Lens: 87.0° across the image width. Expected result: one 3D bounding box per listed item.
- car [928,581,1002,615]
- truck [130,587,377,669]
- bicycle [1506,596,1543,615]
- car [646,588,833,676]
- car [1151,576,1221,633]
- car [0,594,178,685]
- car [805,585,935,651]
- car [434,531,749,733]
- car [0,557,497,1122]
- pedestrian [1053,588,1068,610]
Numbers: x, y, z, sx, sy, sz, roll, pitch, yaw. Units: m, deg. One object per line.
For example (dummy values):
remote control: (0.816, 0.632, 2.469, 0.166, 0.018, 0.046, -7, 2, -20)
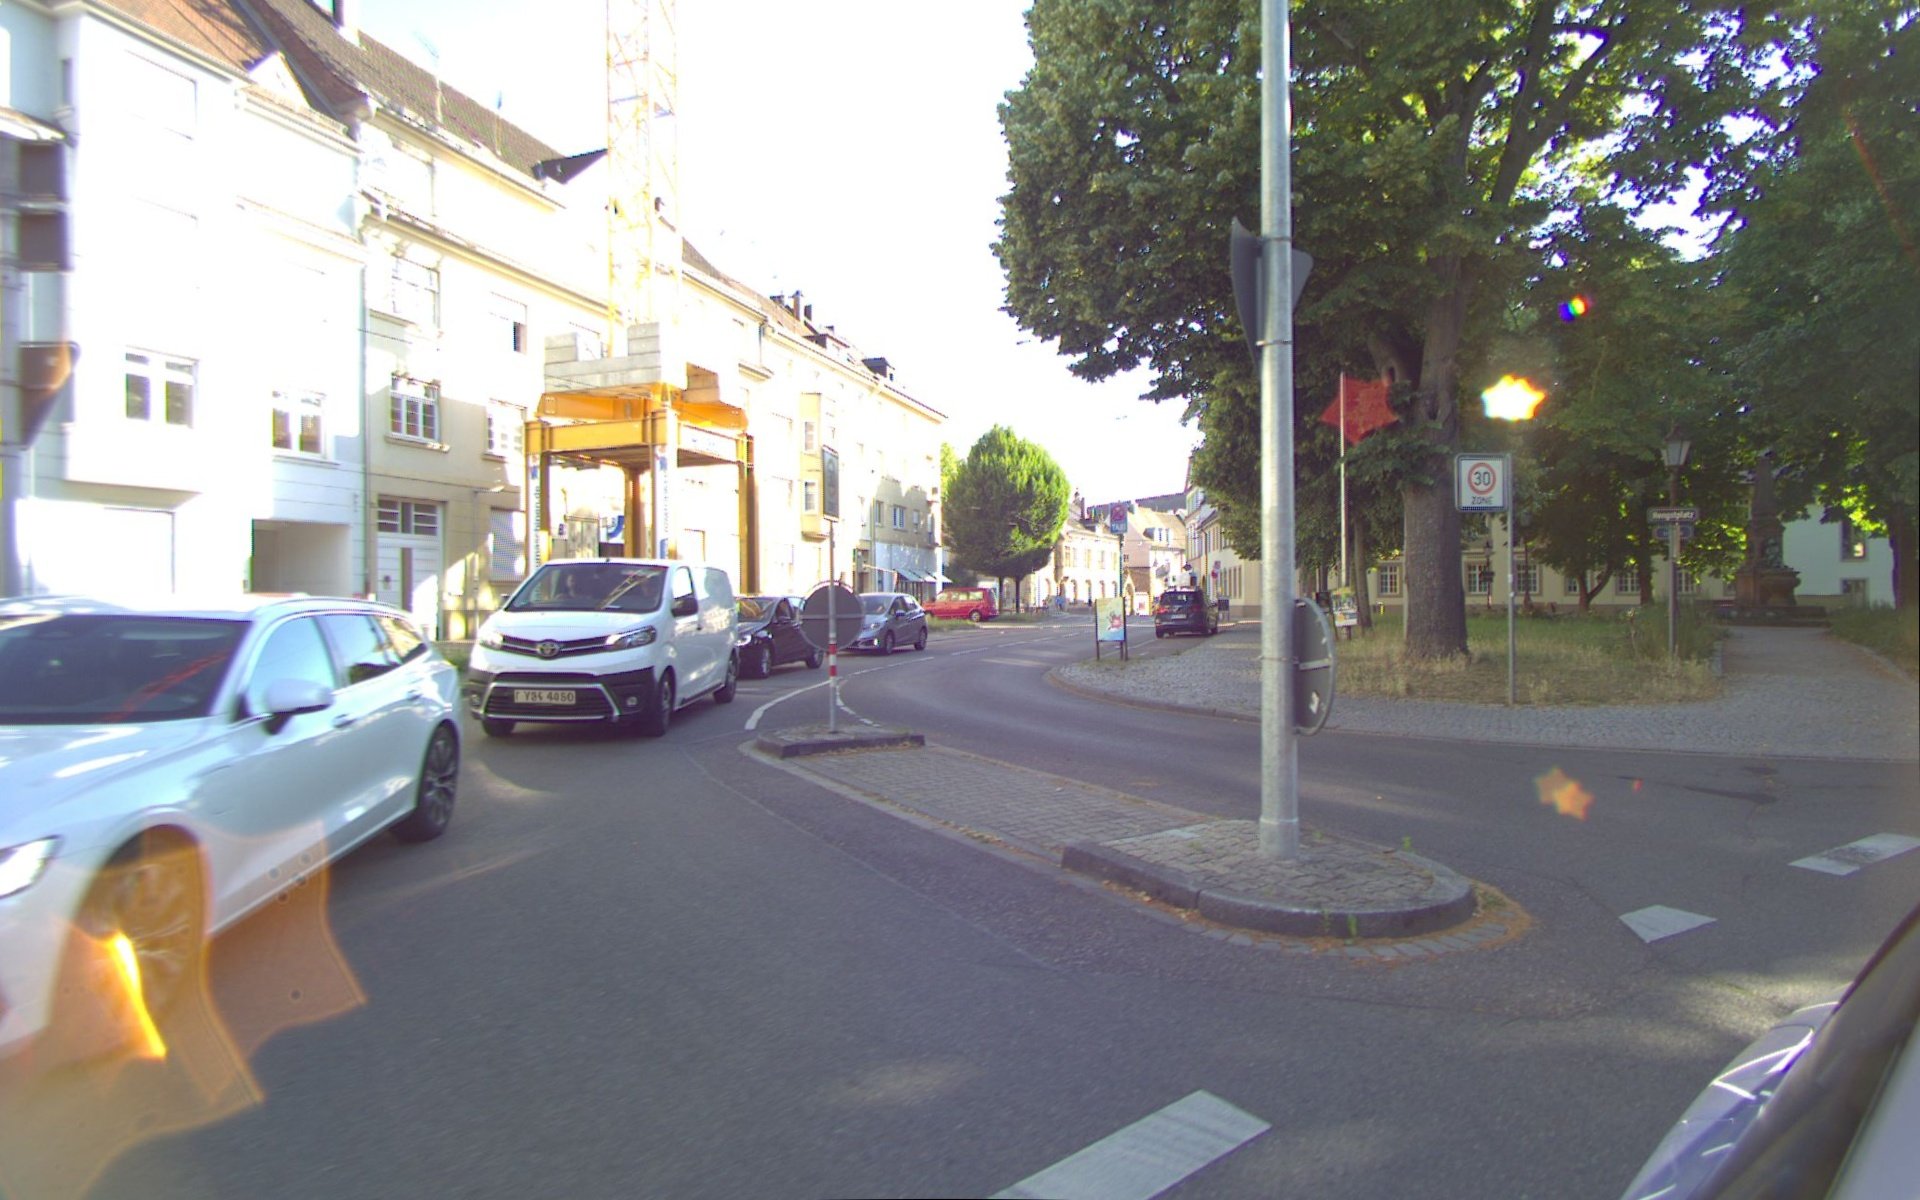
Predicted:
car: (0.323, -0.094, 59.660, 4.015, 1.946, 1.990, 0, 0, 17)
truck: (-15.233, 0.553, 22.110, 1.973, 1.605, 4.073, 0, 0, 18)
bicycle: (31.794, 0.291, 57.042, 1.744, 1.045, 0.717, 1, 1, 23)
car: (-3.948, 0.532, 18.877, 1.969, 1.463, 4.057, 0, 0, 12)
car: (7.926, 0.136, 35.237, 1.974, 1.816, 3.977, -2, 0, 18)
car: (-16.308, 0.646, 17.472, 1.973, 1.471, 4.073, 0, 0, 18)
car: (-2.183, 0.418, 25.733, 1.972, 1.538, 4.050, 0, 0, 17)
car: (-3.944, 0.304, 11.889, 1.962, 1.878, 4.902, 0, 0, 0)
car: (-3.706, 0.630, 4.426, 1.817, 1.482, 4.779, 0, 0, -9)
pedestrian: (9.479, -0.082, 95.835, 1.334, 2.039, 1.155, 0, 0, 10)
